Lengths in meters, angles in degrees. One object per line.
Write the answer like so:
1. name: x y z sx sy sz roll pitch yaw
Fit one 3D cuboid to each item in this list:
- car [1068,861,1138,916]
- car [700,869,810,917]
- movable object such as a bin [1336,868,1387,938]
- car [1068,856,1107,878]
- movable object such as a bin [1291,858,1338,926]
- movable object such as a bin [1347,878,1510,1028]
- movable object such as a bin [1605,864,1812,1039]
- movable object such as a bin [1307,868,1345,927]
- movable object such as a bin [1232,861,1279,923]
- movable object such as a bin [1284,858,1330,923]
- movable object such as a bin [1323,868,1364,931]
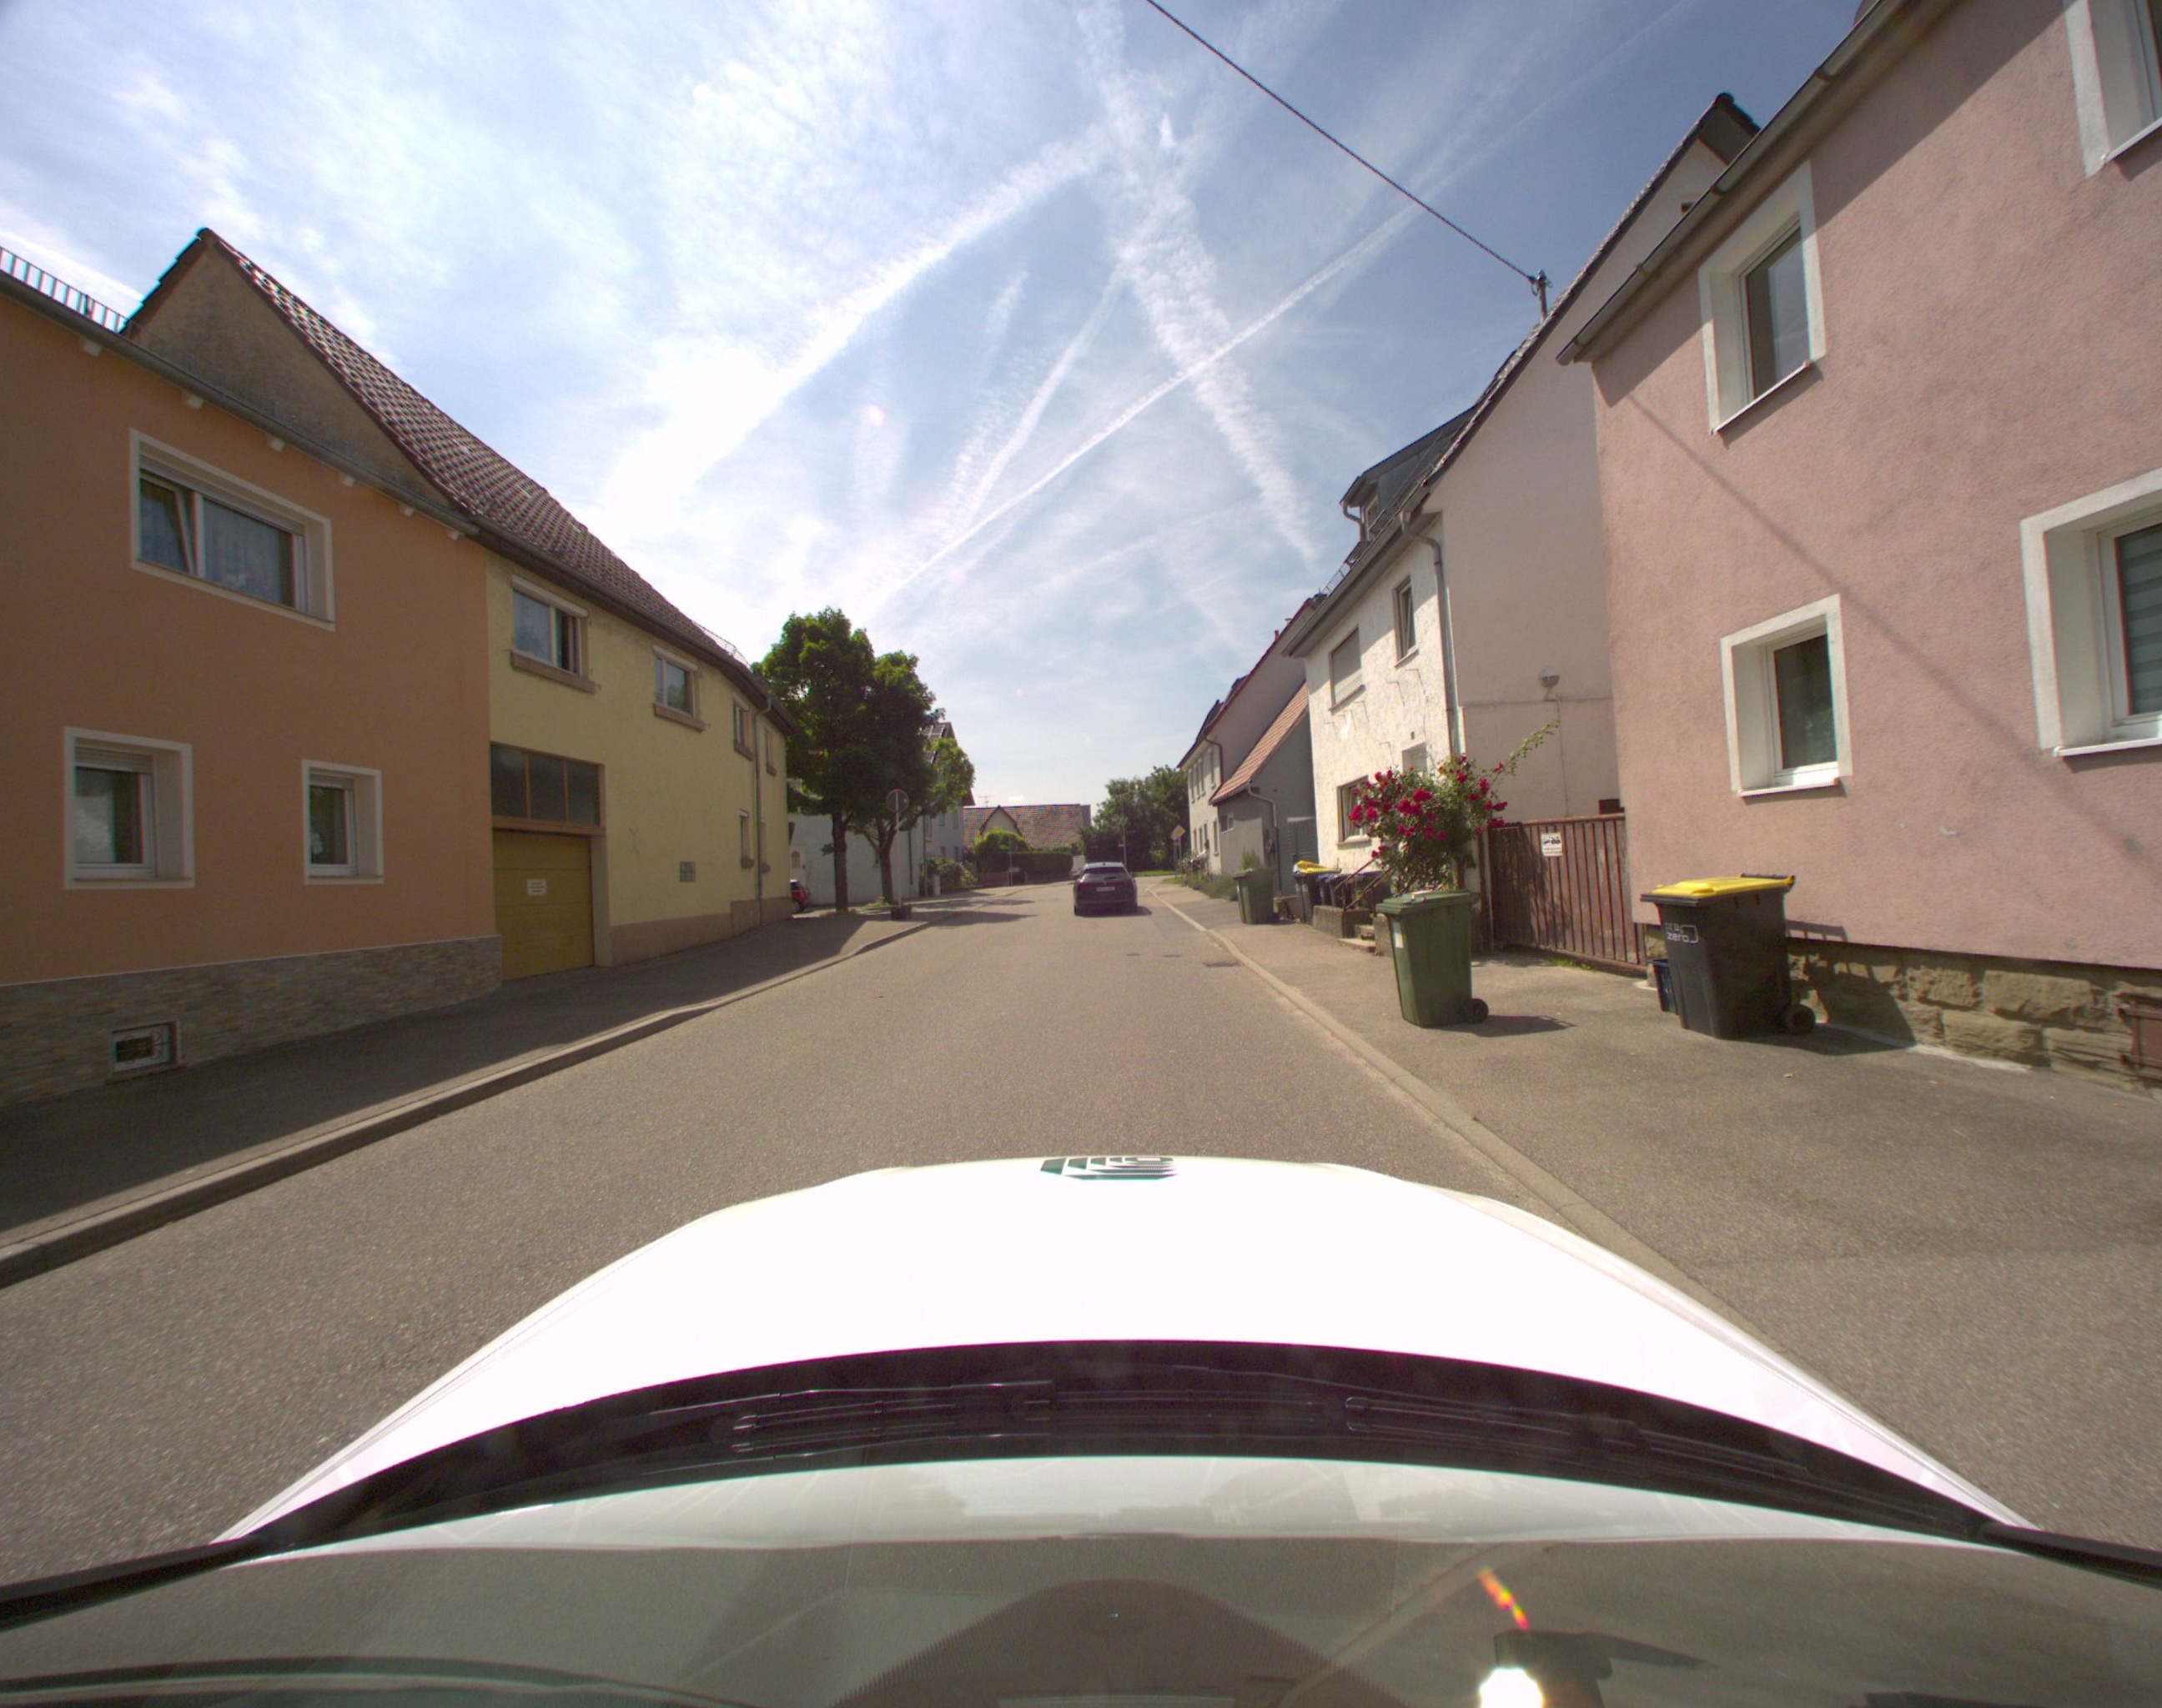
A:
1. car: 0.715 0.943 24.051 1.834 1.420 4.686 -1 -1 3
2. car: -13.506 1.598 34.007 3.996 1.750 1.989 -2 -1 -17
3. movable object such as a bin: 4.416 0.762 12.844 0.590 1.040 0.531 -3 -1 1
4. car: 0.685 1.311 81.992 2.109 2.013 4.964 -3 0 22
5. movable object such as a bin: 4.279 0.679 14.953 0.662 1.194 0.588 -3 -1 1
6. movable object such as a bin: 2.918 0.803 6.935 0.874 1.074 0.872 -7 0 -3
7. movable object such as a bin: 4.331 0.636 5.689 0.676 1.050 0.834 -7 0 -3
8. movable object such as a bin: 4.339 0.767 14.422 0.502 0.994 0.442 -3 -1 1
9. movable object such as a bin: 3.418 0.727 16.022 0.676 1.155 0.819 -2 -1 -3
10. movable object such as a bin: 4.328 0.690 15.630 0.662 1.194 0.660 -3 -1 1
11. movable object such as a bin: 4.339 0.751 13.469 0.502 0.994 0.442 -3 -1 1
